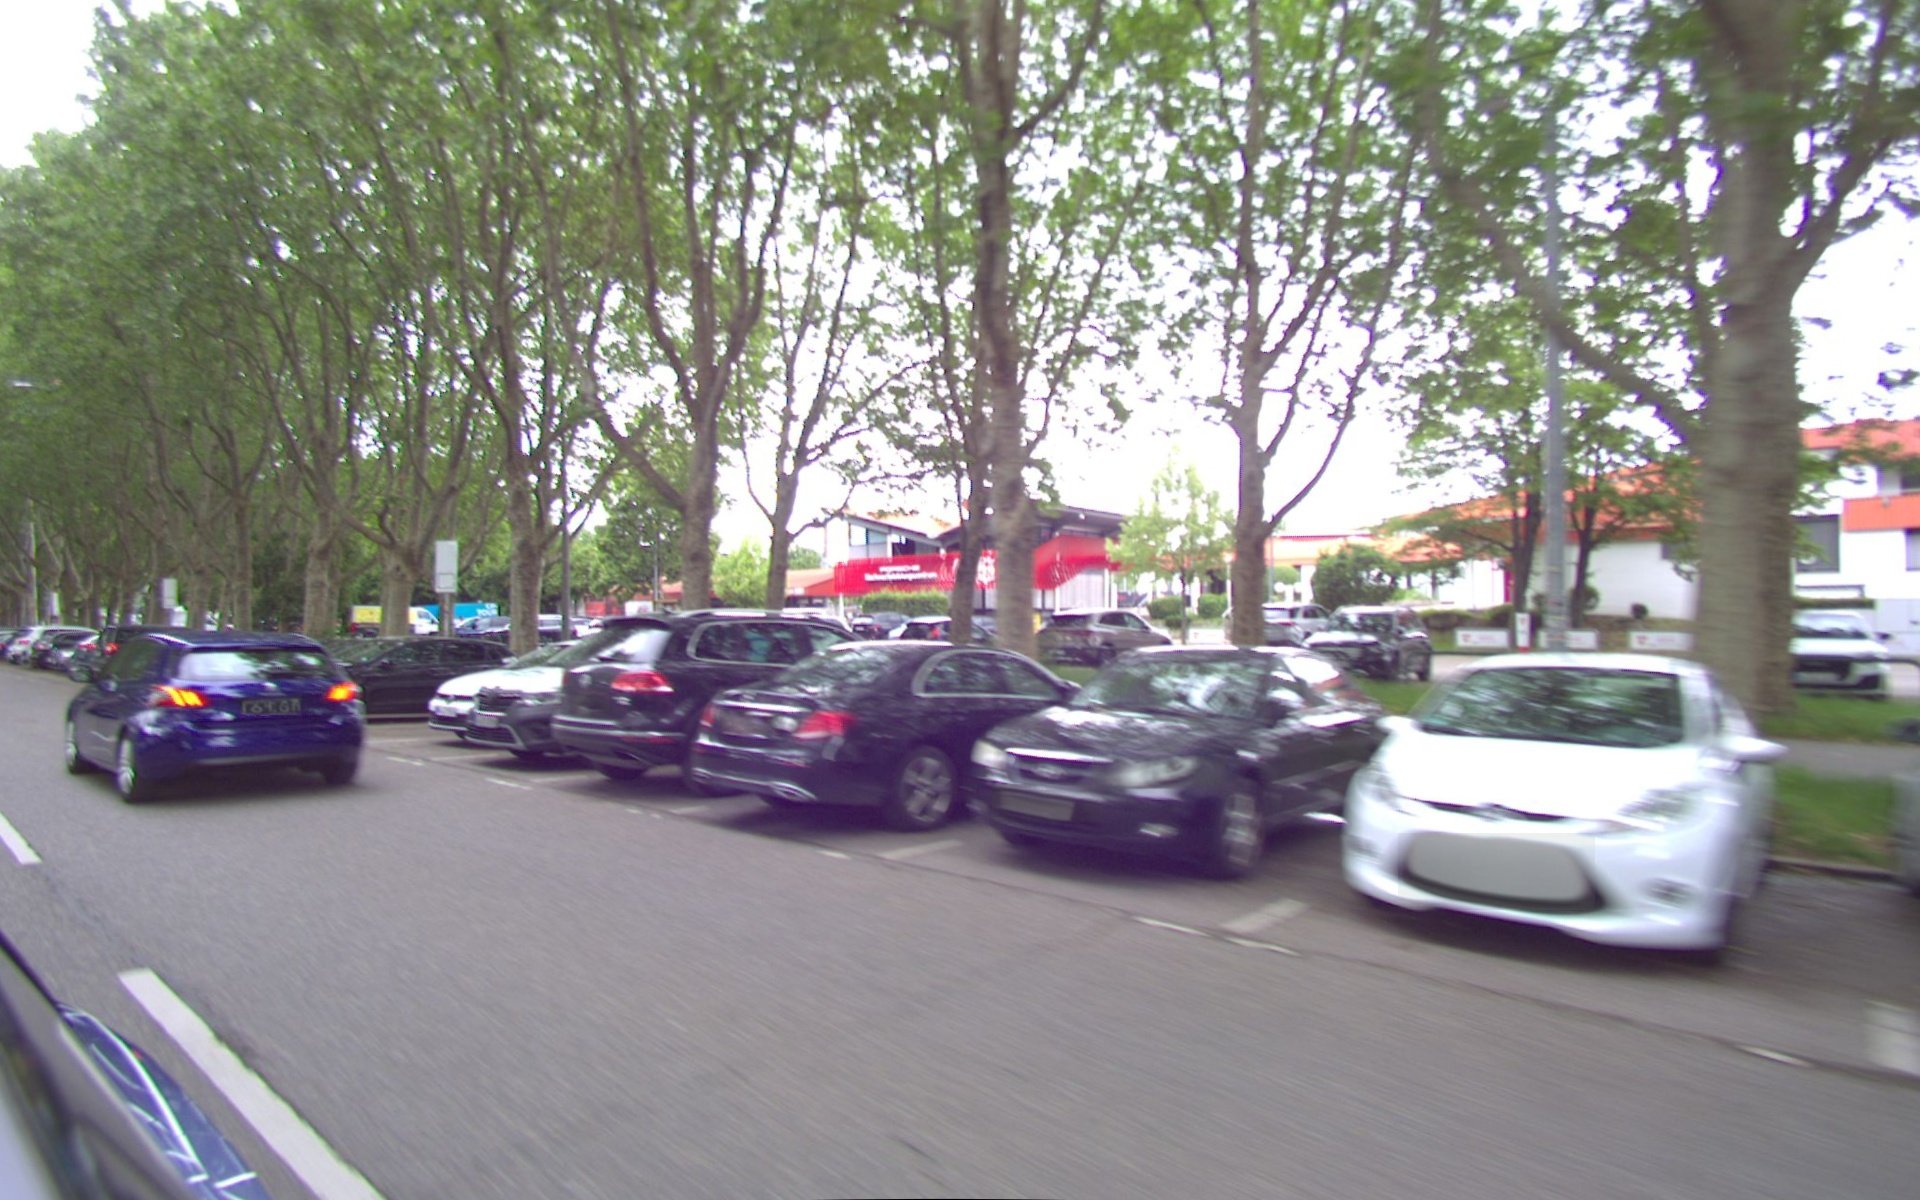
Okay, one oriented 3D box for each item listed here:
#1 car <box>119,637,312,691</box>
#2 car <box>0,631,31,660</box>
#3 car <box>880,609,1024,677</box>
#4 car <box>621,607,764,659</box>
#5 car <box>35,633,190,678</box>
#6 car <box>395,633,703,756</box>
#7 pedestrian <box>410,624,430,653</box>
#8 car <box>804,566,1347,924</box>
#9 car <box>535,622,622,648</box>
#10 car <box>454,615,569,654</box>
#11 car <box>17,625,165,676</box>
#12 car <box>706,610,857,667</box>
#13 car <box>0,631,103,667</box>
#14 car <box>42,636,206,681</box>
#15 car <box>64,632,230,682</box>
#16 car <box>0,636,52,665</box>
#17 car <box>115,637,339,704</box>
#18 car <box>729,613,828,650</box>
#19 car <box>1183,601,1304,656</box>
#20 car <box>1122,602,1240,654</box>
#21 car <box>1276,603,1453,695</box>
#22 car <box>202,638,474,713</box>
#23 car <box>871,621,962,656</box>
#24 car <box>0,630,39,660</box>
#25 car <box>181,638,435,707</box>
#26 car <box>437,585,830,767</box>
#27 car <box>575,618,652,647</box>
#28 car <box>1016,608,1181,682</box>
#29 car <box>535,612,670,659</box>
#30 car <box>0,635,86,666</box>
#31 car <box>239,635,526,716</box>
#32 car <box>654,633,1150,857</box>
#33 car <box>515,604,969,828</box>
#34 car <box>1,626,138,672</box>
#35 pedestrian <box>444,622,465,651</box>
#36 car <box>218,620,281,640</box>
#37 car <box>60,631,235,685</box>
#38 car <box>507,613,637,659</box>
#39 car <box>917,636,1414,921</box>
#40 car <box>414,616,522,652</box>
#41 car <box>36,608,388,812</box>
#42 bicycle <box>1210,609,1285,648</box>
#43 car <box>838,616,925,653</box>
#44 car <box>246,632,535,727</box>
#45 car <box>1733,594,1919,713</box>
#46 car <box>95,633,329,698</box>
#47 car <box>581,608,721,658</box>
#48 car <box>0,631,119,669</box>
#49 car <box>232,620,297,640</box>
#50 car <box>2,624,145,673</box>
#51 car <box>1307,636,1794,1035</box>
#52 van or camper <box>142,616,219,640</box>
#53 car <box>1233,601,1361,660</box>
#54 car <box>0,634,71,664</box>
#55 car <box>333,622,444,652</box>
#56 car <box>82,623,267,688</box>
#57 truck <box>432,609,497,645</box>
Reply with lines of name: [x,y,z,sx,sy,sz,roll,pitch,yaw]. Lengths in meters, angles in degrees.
car: [-20.240,1.715,27.626,1.825,1.375,3.891,-2,-4,39]
car: [-56.565,2.607,58.177,2.045,1.639,4.363,-2,-4,39]
car: [-0.181,1.211,30.205,2.027,1.875,4.277,-1,-1,40]
car: [-10.012,1.196,38.183,2.180,1.810,4.893,-1,-1,38]
car: [-29.832,1.924,35.697,1.842,1.379,3.947,-1,-1,39]
car: [-5.650,1.250,14.367,1.758,1.483,3.755,-1,-3,30]
pedestrian: [-34.807,2.475,65.222,0.917,1.814,0.808,-1,0,41]
car: [1.118,0.856,7.425,1.866,1.824,4.272,-2,-4,41]
car: [-24.741,2.261,65.723,2.181,1.532,4.892,-1,-1,40]
car: [-20.973,1.659,47.482,1.998,1.734,4.507,-1,-3,39]
car: [-31.919,1.793,37.233,1.855,1.695,3.944,-1,-1,42]
car: [-6.032,1.287,34.644,2.180,1.810,4.893,-2,-2,38]
car: [-41.133,2.161,45.358,1.855,1.464,3.944,-1,-1,42]
car: [-27.913,1.945,33.870,1.701,1.431,3.953,-2,-4,39]
car: [-25.928,1.803,32.361,3.947,1.497,1.704,3,-4,-44]
car: [-49.153,2.559,51.324,1.774,1.435,4.363,-2,-4,39]
car: [-16.903,1.601,23.485,1.701,1.409,3.891,-2,-4,39]
car: [-9.365,1.590,52.631,2.180,1.810,4.893,-1,-1,38]
car: [10.347,0.985,36.788,4.525,1.869,2.298,0,-1,-44]
car: [8.520,1.019,38.807,4.525,1.869,2.298,0,-1,-44]
car: [8.899,0.967,22.041,2.295,1.775,4.472,-1,-1,40]
car: [-12.693,1.500,20.874,1.901,1.358,4.414,-2,-4,42]
car: [-1.930,1.676,45.525,1.998,1.438,3.948,-1,-1,39]
car: [-54.337,2.500,56.206,2.044,1.639,4.365,-2,-4,38]
car: [-14.484,1.600,22.700,1.858,1.377,4.418,-2,-4,39]
car: [-3.777,0.876,12.421,1.864,1.824,4.277,-2,-4,37]
car: [-20.840,1.943,60.959,1.996,1.638,3.951,-1,-1,37]
car: [3.734,1.102,26.692,2.295,1.738,4.505,-1,-1,40]
car: [-14.800,1.446,42.132,2.180,1.810,4.893,-2,-2,38]
car: [-45.032,2.431,48.521,2.043,1.455,4.368,-2,-3,36]
car: [-10.980,1.402,19.505,1.879,1.380,4.417,-2,-4,40]
car: [-0.297,1.100,8.860,2.013,1.463,4.083,-2,-5,43]
car: [-2.059,0.961,10.540,2.036,1.808,4.272,-1,-1,41]
car: [-35.704,1.913,40.641,1.855,1.695,3.944,-1,-1,42]
pedestrian: [-33.083,2.383,66.195,0.918,1.814,0.932,1,1,41]
car: [-79.776,3.349,113.750,2.391,2.036,5.399,-1,-1,39]
car: [-24.493,1.741,30.604,1.728,1.528,3.888,-2,-4,42]
car: [-16.795,1.508,44.054,2.180,1.810,4.893,-1,-1,38]
car: [1.778,1.015,7.558,1.965,1.364,4.148,-1,-1,39]
car: [-24.917,1.746,51.392,1.998,1.734,4.507,-1,-3,39]
car: [-7.318,0.877,9.761,4.012,1.521,1.824,-1,0,40]
bicycle: [11.806,1.156,41.582,2.800,1.551,1.038,-1,-1,42]
car: [-3.629,1.580,47.294,1.997,1.637,3.950,-1,-1,37]
car: [-9.635,1.318,17.337,1.756,1.432,3.933,-2,-4,44]
car: [14.410,0.790,16.944,2.130,1.722,4.277,-1,-1,40]
car: [-18.685,1.612,25.461,1.701,1.493,4.418,-2,-4,39]
car: [-11.992,1.225,39.610,2.180,1.810,4.893,-1,-1,38]
car: [-39.301,2.133,44.021,1.855,1.464,3.944,-1,-1,42]
car: [-76.351,3.287,111.127,2.391,2.036,5.398,-1,-4,39]
car: [-34.008,1.826,38.899,1.855,1.695,3.944,-1,-1,42]
car: [3.743,0.984,6.043,1.884,1.415,3.947,-1,-1,40]
van or camper: [-71.522,2.526,92.951,2.242,2.115,5.233,-1,-1,38]
car: [11.492,0.987,34.370,4.525,1.869,2.298,0,-1,-44]
car: [-47.006,2.410,50.059,1.783,1.428,4.360,-2,-4,42]
car: [-33.597,2.129,59.614,2.093,1.608,5.295,-1,-1,40]
car: [-22.530,1.590,29.150,1.750,1.721,3.891,-2,-4,39]
truck: [-38.783,2.055,79.237,2.375,2.737,3.947,-1,-1,40]
